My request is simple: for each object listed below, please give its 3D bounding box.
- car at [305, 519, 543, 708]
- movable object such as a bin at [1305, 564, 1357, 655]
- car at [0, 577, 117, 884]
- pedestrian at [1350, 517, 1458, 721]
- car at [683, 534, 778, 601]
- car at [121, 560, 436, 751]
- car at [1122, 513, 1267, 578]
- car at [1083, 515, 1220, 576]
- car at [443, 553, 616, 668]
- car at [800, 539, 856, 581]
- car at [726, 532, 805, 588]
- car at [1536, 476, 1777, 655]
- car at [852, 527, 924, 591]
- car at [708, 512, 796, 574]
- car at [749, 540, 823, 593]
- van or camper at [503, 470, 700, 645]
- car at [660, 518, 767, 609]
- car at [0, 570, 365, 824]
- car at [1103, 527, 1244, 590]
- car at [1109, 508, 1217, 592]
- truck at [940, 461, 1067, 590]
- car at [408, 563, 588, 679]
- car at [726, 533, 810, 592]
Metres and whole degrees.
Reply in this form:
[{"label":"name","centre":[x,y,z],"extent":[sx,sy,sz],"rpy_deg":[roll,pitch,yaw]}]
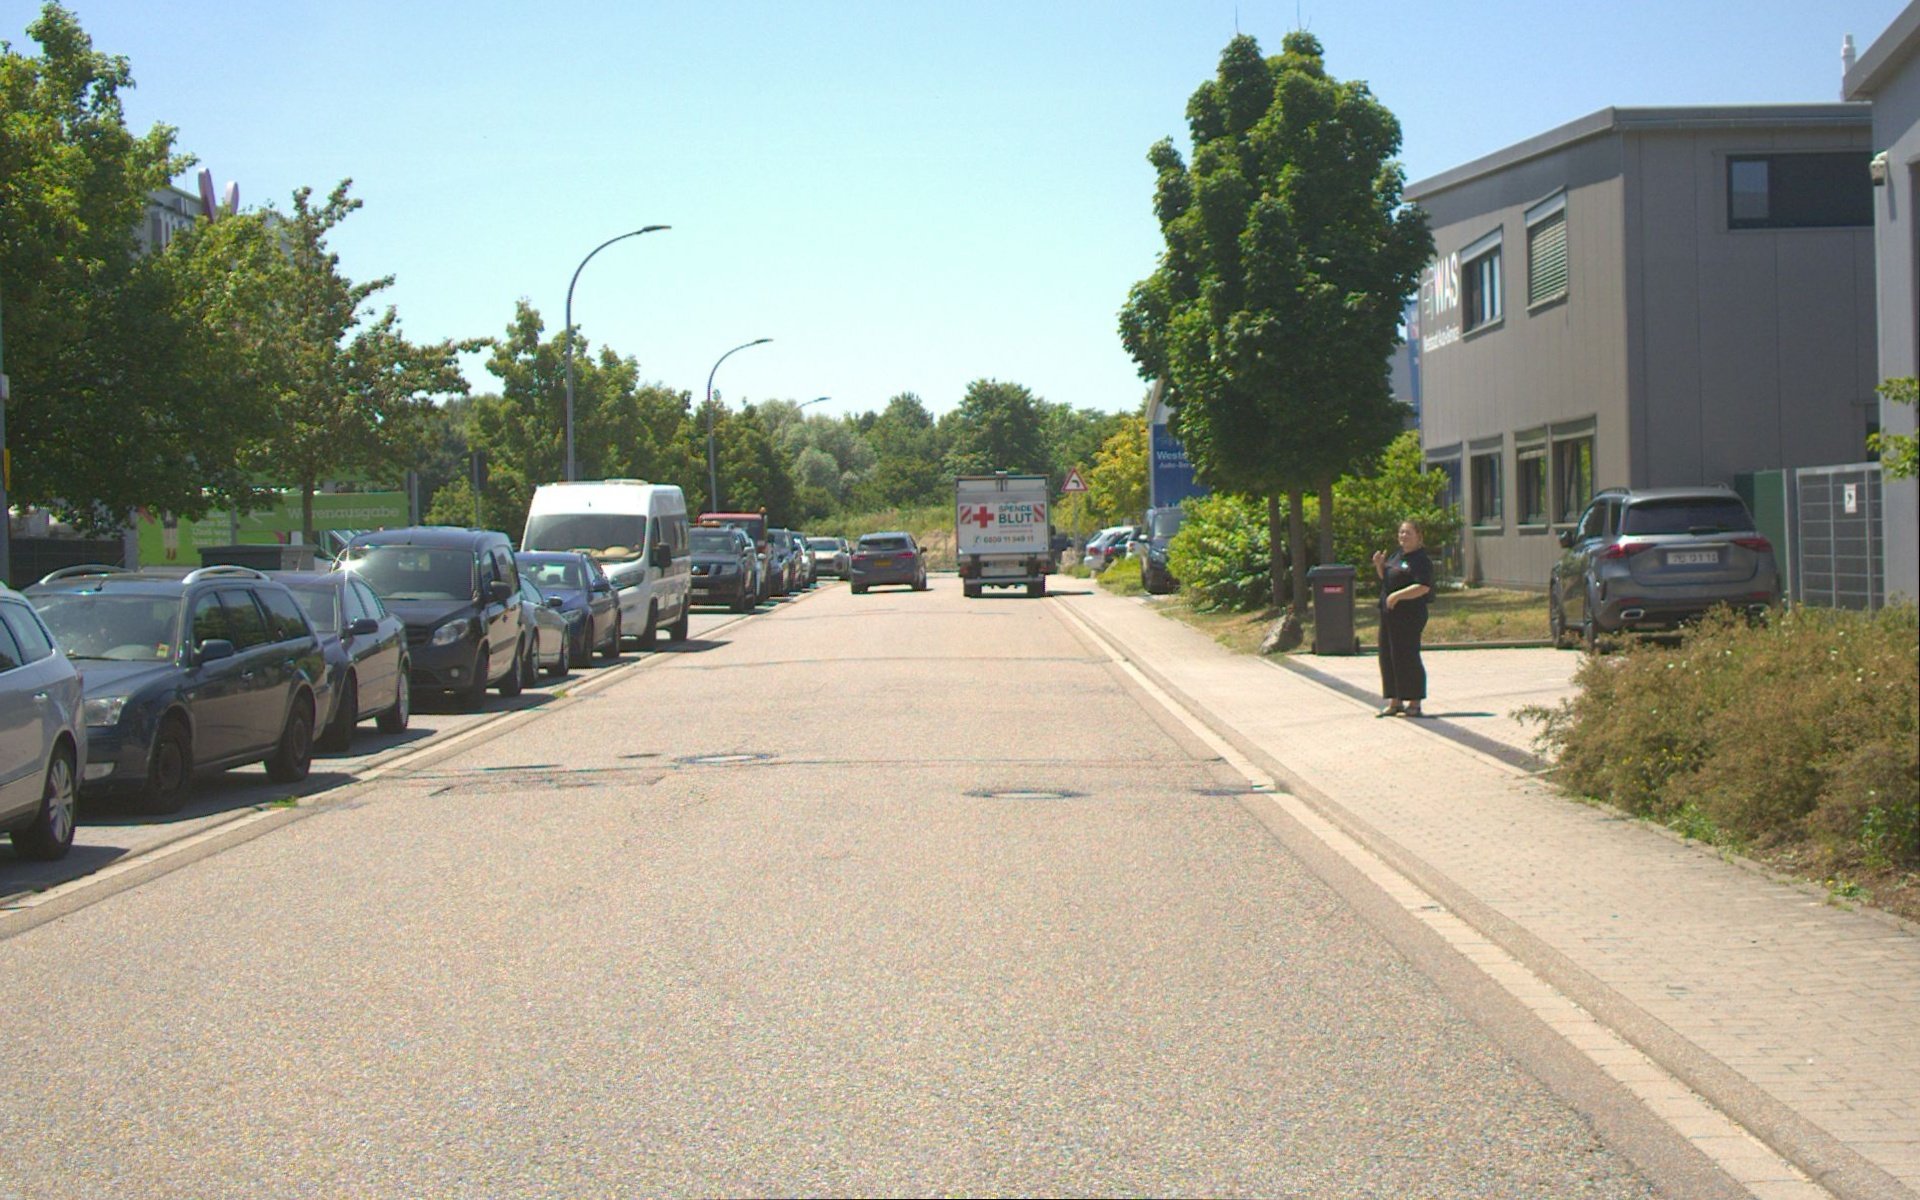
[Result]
[{"label":"car","centre":[-5.418,0.100,35.237],"extent":[1.799,1.808,4.252],"rpy_deg":[0,1,-1]},{"label":"movable object such as a bin","centre":[4.372,0.103,40.545],"extent":[0.531,1.049,0.845],"rpy_deg":[-1,1,2]},{"label":"car","centre":[-5.557,0.647,16.590],"extent":[1.799,1.471,4.555],"rpy_deg":[0,1,1]},{"label":"pedestrian","centre":[3.624,0.154,28.085],"extent":[0.499,1.608,0.714],"rpy_deg":[-5,1,-16]},{"label":"car","centre":[-5.308,-0.772,80.012],"extent":[1.799,1.482,4.252],"rpy_deg":[0,1,2]},{"label":"car","centre":[-5.695,0.409,29.256],"extent":[1.799,1.471,4.589],"rpy_deg":[0,1,-1]},{"label":"car","centre":[6.584,-1.524,96.689],"extent":[3.875,1.744,1.752],"rpy_deg":[1,1,-2]},{"label":"car","centre":[5.654,-1.610,101.681],"extent":[3.875,1.744,1.752],"rpy_deg":[1,1,-2]},{"label":"car","centre":[-5.668,0.108,45.713],"extent":[1.799,1.444,4.252],"rpy_deg":[0,1,-1]},{"label":"car","centre":[-4.991,-1.527,130.152],"extent":[1.799,1.482,4.252],"rpy_deg":[0,1,2]},{"label":"car","centre":[-5.369,-1.125,95.229],"extent":[1.799,1.482,4.252],"rpy_deg":[0,1,2]},{"label":"car","centre":[7.578,-0.364,37.836],"extent":[1.785,1.777,4.905],"rpy_deg":[-2,0,2]},{"label":"car","centre":[-1.869,-1.095,90.526],"extent":[1.789,1.618,3.809],"rpy_deg":[1,1,0]},{"label":"car","centre":[-5.138,-1.424,85.326],"extent":[1.799,1.482,4.252],"rpy_deg":[0,1,2]},{"label":"car","centre":[-5.094,-1.008,101.192],"extent":[1.799,1.482,4.252],"rpy_deg":[0,1,2]},{"label":"van or camper","centre":[-5.380,-0.650,52.430],"extent":[2.079,2.474,6.130],"rpy_deg":[1,1,2]},{"label":"car","centre":[-5.155,-0.803,72.391],"extent":[1.799,1.842,4.252],"rpy_deg":[0,1,2]},{"label":"car","centre":[-5.451,0.561,22.770],"extent":[1.799,1.471,4.636],"rpy_deg":[0,1,6]},{"label":"car","centre":[6.126,-1.199,98.851],"extent":[3.875,1.744,1.752],"rpy_deg":[1,1,-2]},{"label":"car","centre":[4.537,-1.124,77.305],"extent":[1.993,1.797,4.140],"rpy_deg":[-1,1,-2]},{"label":"truck","centre":[1.046,-1.796,83.692],"extent":[2.933,2.963,6.419],"rpy_deg":[1,1,1]},{"label":"car","centre":[-5.452,0.219,40.924],"extent":[1.478,1.293,3.899],"rpy_deg":[0,1,2]},{"label":"car","centre":[-5.010,-1.000,90.163],"extent":[1.799,1.482,4.252],"rpy_deg":[0,1,2]}]
